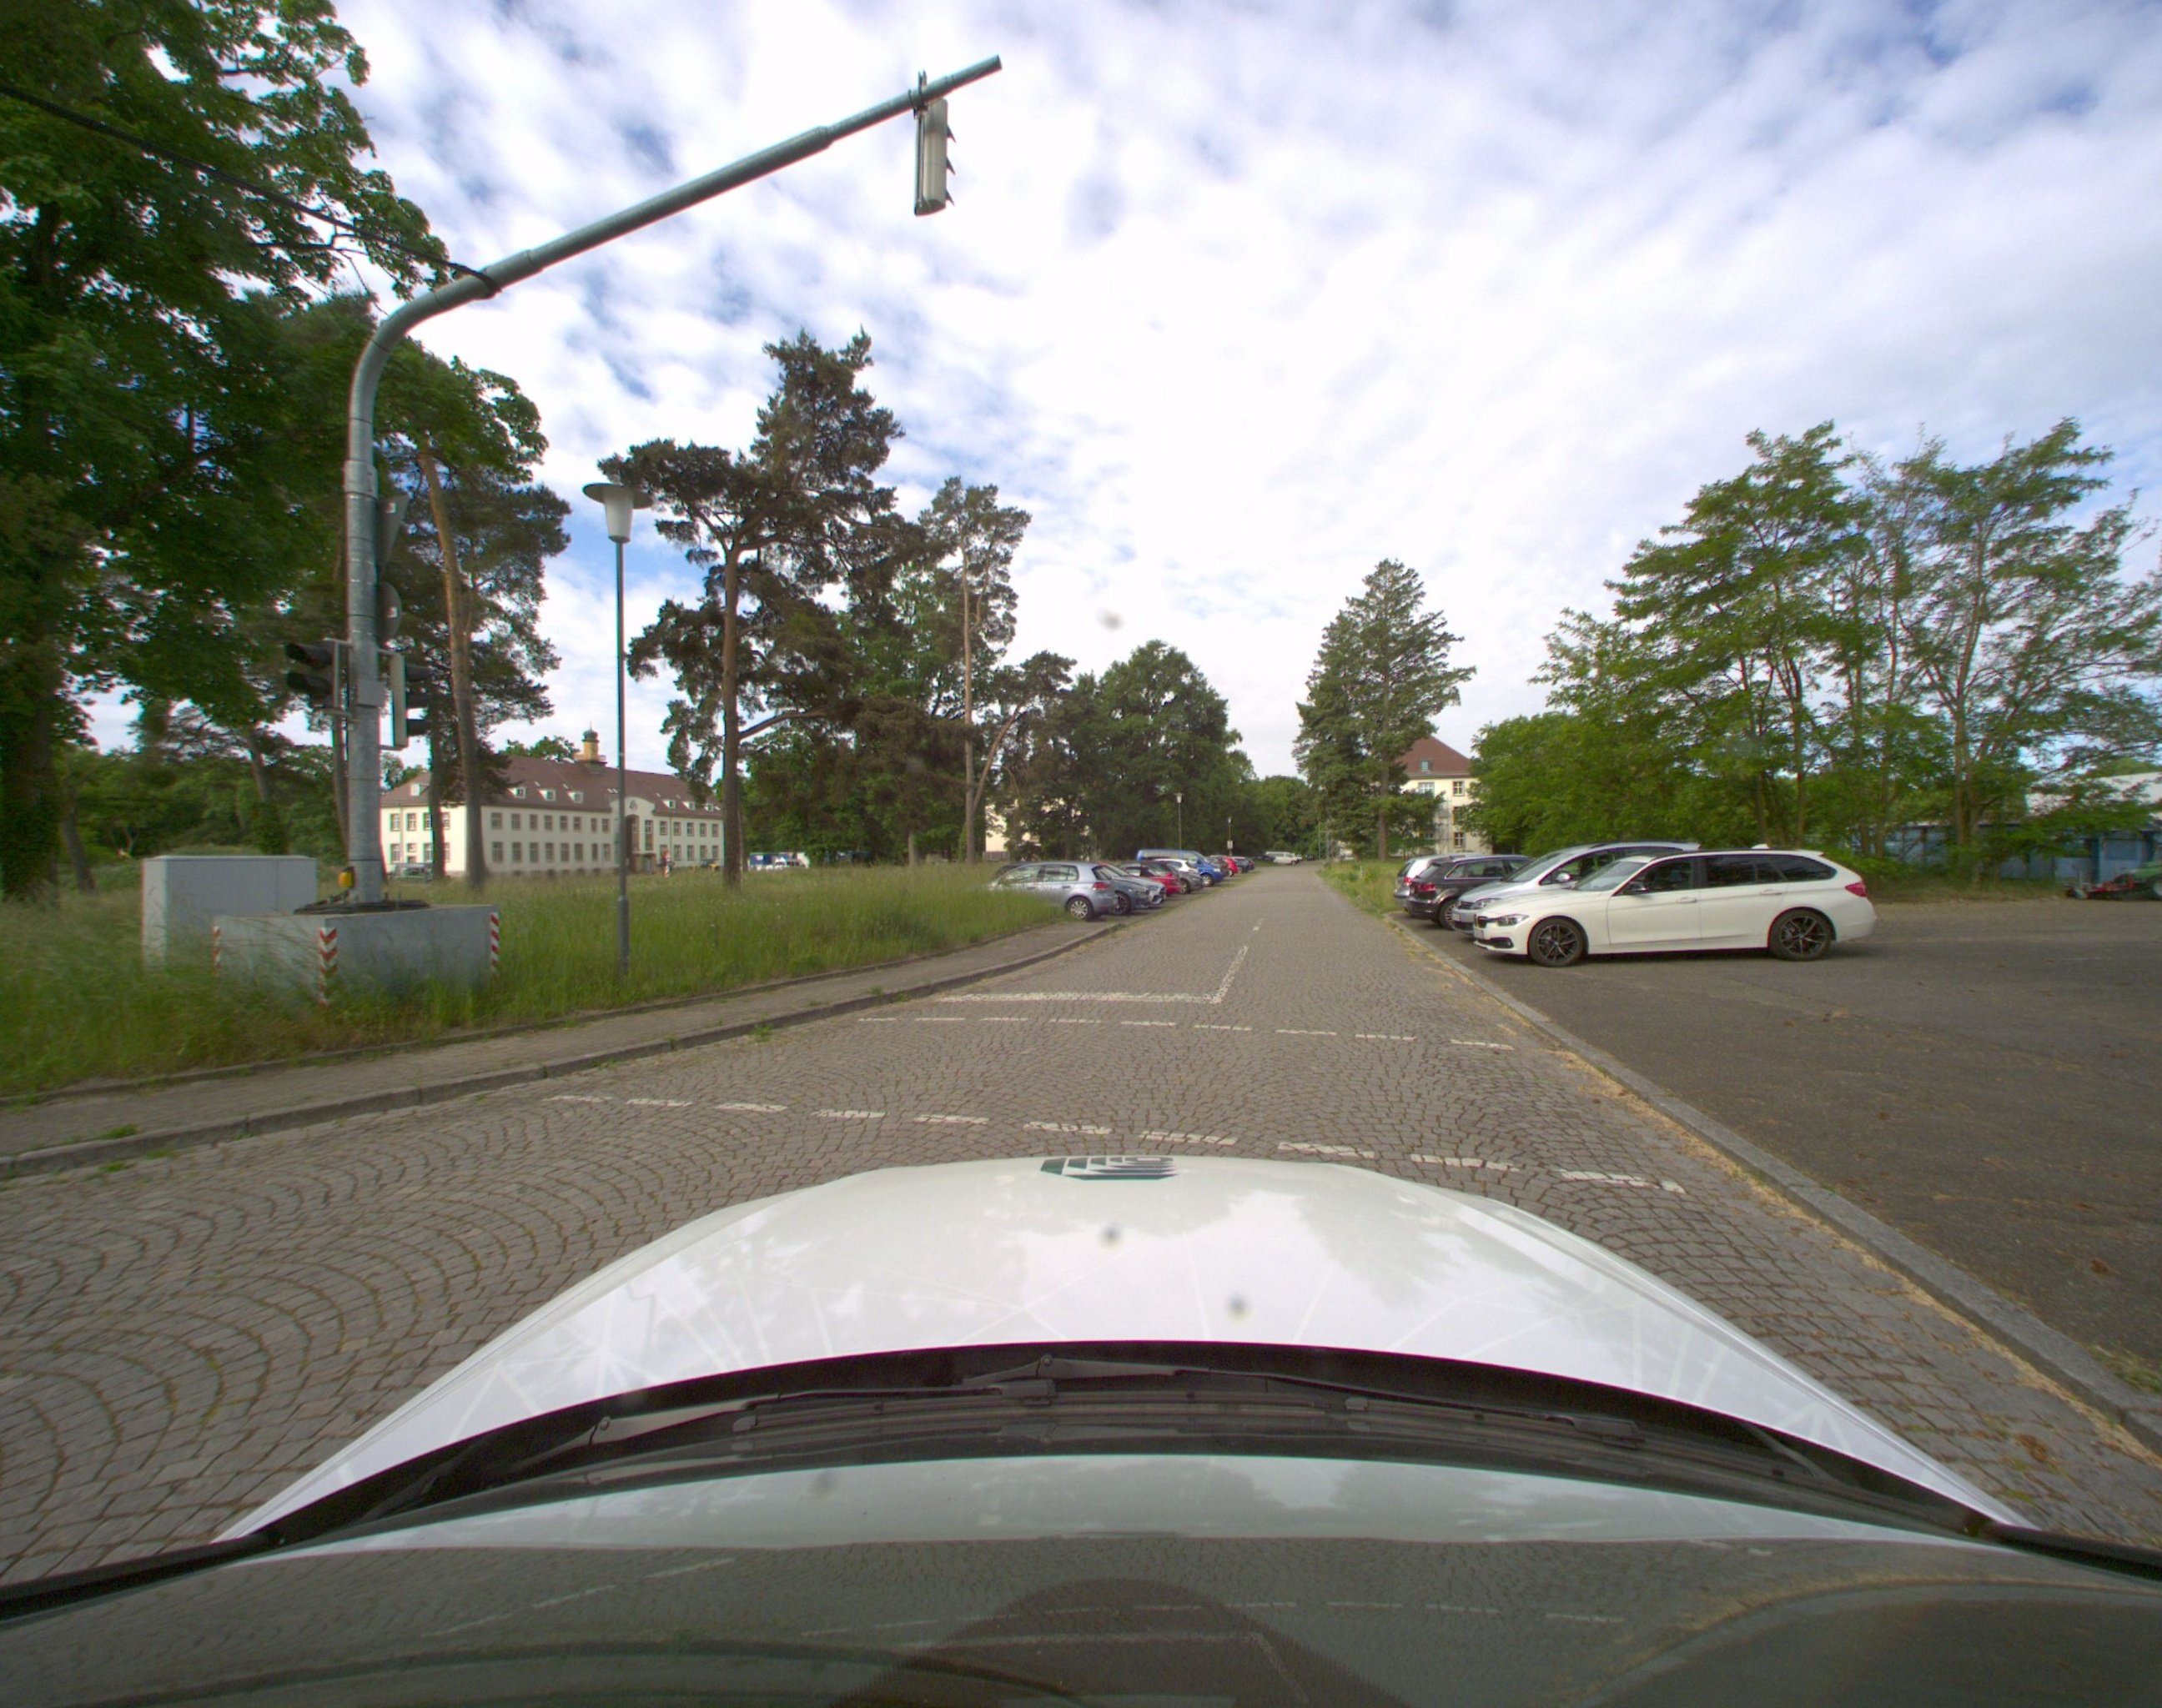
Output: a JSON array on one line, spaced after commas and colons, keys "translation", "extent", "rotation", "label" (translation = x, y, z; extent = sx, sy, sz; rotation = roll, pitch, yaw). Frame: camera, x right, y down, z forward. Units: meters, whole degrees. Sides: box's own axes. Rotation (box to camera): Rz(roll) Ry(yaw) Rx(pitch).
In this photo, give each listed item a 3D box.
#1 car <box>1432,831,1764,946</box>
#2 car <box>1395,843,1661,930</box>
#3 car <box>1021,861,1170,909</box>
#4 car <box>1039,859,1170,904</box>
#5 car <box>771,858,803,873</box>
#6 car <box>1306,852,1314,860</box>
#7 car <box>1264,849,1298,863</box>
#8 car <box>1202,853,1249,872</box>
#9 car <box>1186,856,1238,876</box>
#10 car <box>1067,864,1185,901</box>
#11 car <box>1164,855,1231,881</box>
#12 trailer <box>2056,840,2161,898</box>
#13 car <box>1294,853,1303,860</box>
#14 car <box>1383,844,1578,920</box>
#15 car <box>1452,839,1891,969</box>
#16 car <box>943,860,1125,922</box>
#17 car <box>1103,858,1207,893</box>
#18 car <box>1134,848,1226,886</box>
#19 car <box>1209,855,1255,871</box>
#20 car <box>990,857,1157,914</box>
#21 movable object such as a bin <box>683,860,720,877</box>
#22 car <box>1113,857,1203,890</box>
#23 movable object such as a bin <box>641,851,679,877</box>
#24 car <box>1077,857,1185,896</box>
[{"translation": [8.493, 0.583, 13.790], "extent": [4.303, 1.574, 1.832], "rotation": [-4, -1, 9], "label": "car"}, {"translation": [8.829, 0.642, 16.488], "extent": [4.335, 1.406, 1.803], "rotation": [-4, 0, 13], "label": "car"}, {"translation": [0.491, 0.963, 26.029], "extent": [4.403, 1.455, 1.957], "rotation": [-1, -1, 15], "label": "car"}, {"translation": [0.856, 0.946, 28.330], "extent": [4.223, 1.455, 1.862], "rotation": [-1, 0, 14], "label": "car"}, {"translation": [-41.185, 1.650, 114.298], "extent": [2.047, 2.095, 4.361], "rotation": [-2, -2, 14], "label": "car"}, {"translation": [52.496, 0.488, 186.704], "extent": [1.777, 1.720, 4.075], "rotation": [-1, -2, 13], "label": "car"}, {"translation": [30.397, 0.353, 123.591], "extent": [4.943, 2.073, 2.059], "rotation": [0, -2, 13], "label": "car"}, {"translation": [12.887, 0.775, 72.454], "extent": [4.043, 1.604, 1.794], "rotation": [-1, 0, 13], "label": "car"}, {"translation": [10.101, 0.918, 62.544], "extent": [3.789, 1.489, 1.794], "rotation": [-1, 0, 14], "label": "car"}, {"translation": [1.714, 1.043, 30.579], "extent": [4.101, 1.283, 1.771], "rotation": [-1, 0, 14], "label": "car"}, {"translation": [7.532, 0.905, 52.512], "extent": [4.039, 1.575, 1.962], "rotation": [-1, 0, 13], "label": "car"}, {"translation": [22.395, 0.306, 17.054], "extent": [2.296, 1.170, 1.148], "rotation": [0, -1, 13], "label": "trailer"}, {"translation": [49.891, 0.580, 187.040], "extent": [1.777, 1.636, 4.075], "rotation": [-1, -2, 13], "label": "car"}, {"translation": [9.263, 0.634, 19.177], "extent": [3.747, 1.480, 1.749], "rotation": [-4, 0, 12], "label": "car"}, {"translation": [7.825, 0.675, 11.290], "extent": [4.520, 1.425, 1.833], "rotation": [-4, -1, 11], "label": "car"}, {"translation": [-1.171, 0.912, 20.949], "extent": [4.296, 1.470, 1.835], "rotation": [-1, -1, 16], "label": "car"}, {"translation": [3.295, 0.927, 35.941], "extent": [4.272, 1.480, 1.738], "rotation": [-1, 0, 16], "label": "car"}, {"translation": [5.374, 0.710, 43.871], "extent": [4.676, 1.980, 2.046], "rotation": [-1, 0, 14], "label": "car"}, {"translation": [14.287, 0.875, 76.962], "extent": [4.038, 1.467, 1.633], "rotation": [-1, 0, 18], "label": "car"}, {"translation": [-0.164, 0.890, 23.414], "extent": [4.472, 1.537, 1.876], "rotation": [-1, -1, 11], "label": "car"}, {"translation": [-55.701, 2.136, 119.438], "extent": [4.470, 2.254, 2.391], "rotation": [-1, -2, 19], "label": "movable object such as a bin"}, {"translation": [3.699, 0.913, 38.808], "extent": [3.975, 1.501, 1.851], "rotation": [-1, 0, 16], "label": "car"}, {"translation": [-61.723, 1.534, 119.454], "extent": [6.056, 3.642, 2.155], "rotation": [-2, -2, 32], "label": "movable object such as a bin"}, {"translation": [2.064, 0.901, 33.269], "extent": [4.057, 1.480, 1.762], "rotation": [-1, 0, 16], "label": "car"}]
